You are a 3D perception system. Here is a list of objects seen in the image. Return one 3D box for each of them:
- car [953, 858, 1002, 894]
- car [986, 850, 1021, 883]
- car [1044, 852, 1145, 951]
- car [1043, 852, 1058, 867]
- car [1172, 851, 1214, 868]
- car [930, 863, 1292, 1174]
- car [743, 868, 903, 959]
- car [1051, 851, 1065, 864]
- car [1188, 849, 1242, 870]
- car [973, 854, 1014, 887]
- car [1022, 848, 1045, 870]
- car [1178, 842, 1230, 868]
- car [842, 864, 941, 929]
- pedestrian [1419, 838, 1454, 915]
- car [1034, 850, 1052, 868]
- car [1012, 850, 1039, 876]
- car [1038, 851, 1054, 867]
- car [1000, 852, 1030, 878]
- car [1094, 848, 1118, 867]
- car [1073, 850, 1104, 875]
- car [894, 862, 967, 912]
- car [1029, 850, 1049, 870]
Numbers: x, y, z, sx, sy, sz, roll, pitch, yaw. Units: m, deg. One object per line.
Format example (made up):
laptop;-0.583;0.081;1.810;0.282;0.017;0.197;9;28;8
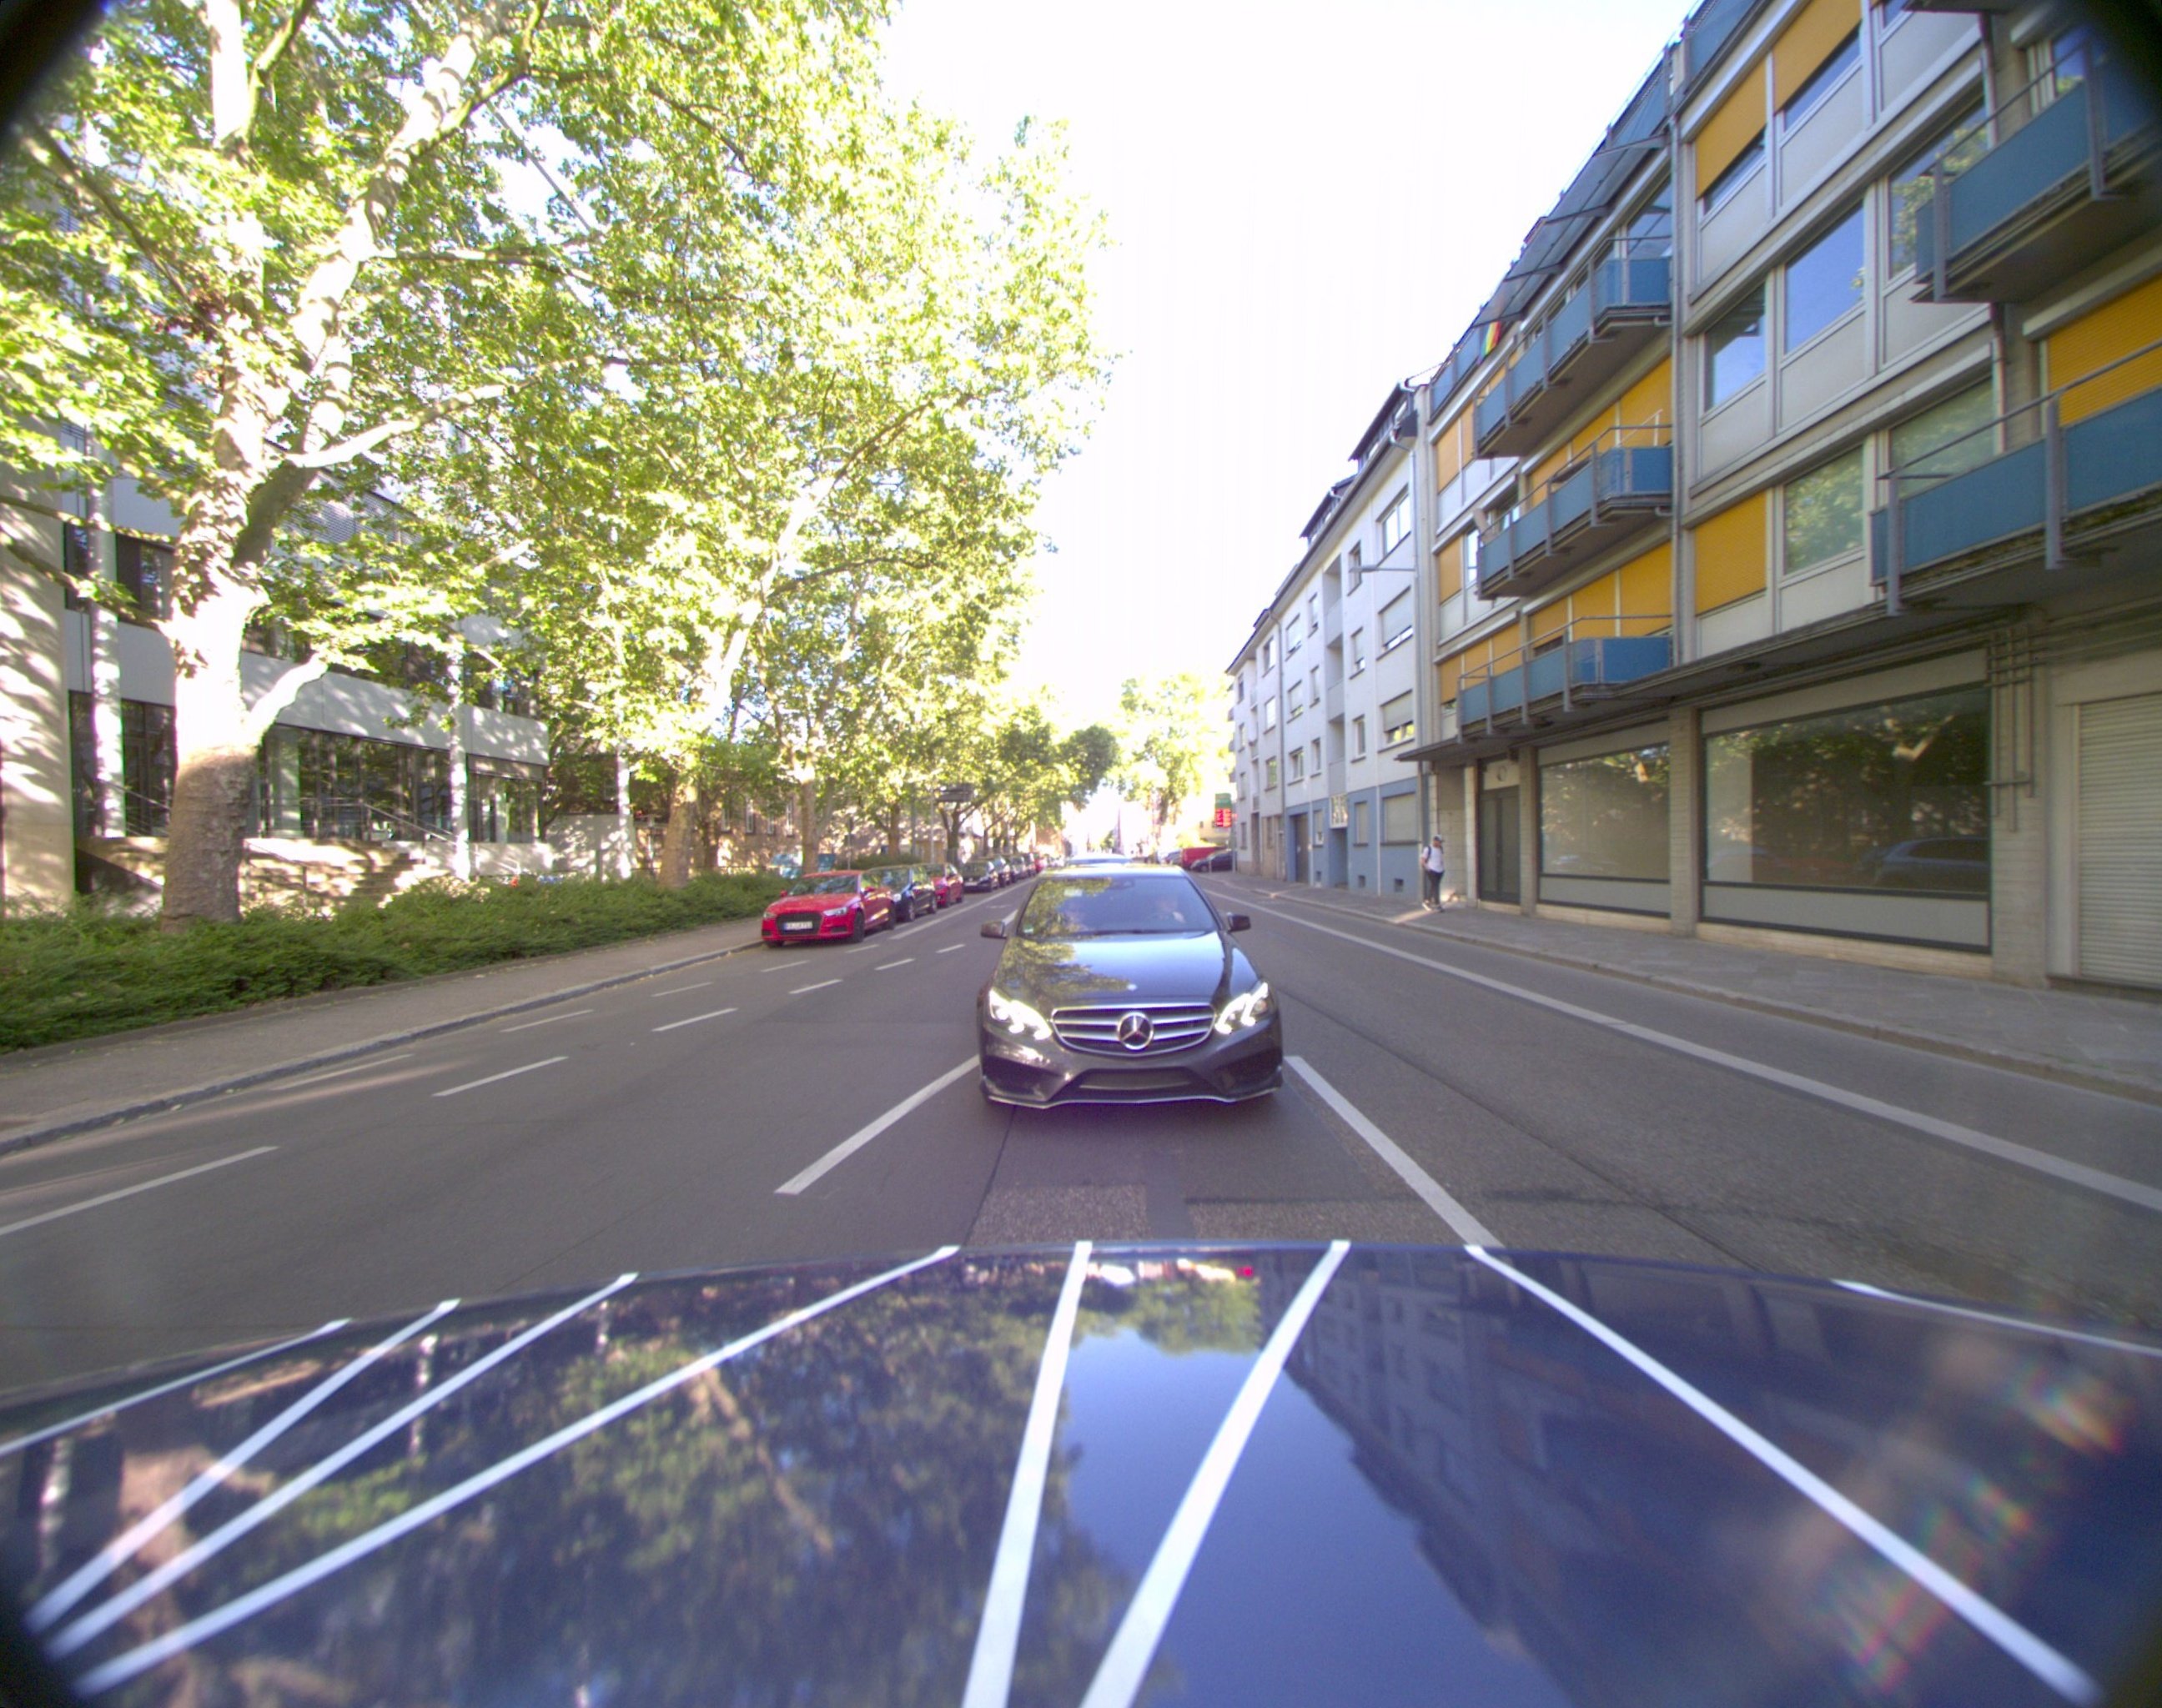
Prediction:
car;-4.746;0.977;35.307;1.635;1.455;3.740;-3;0;1
car;-4.648;0.711;46.078;1.635;1.795;3.844;-3;0;1
car;0.263;0.826;15.321;1.680;1.622;4.125;-3;0;1
car;-3.761;0.637;94.171;1.635;1.713;3.672;-3;0;1
car;9.521;0.458;64.746;3.325;1.241;1.295;-3;1;0
car;0.179;0.882;5.995;1.804;1.455;4.125;-3;0;1
car;-5.151;1.114;15.821;1.804;1.455;4.125;-3;0;1
car;-3.169;0.469;104.893;1.635;1.713;3.672;-3;0;1
car;9.993;0.405;56.809;3.670;1.403;1.636;-3;1;0
car;-4.586;0.839;40.258;1.635;1.578;3.844;-3;0;1
car;-4.244;0.426;68.420;1.635;1.878;3.672;-3;0;1
car;10.029;0.083;62.114;3.928;1.912;1.636;-3;1;0
car;-5.015;1.072;20.635;1.635;1.455;3.740;-3;0;1
pedestrian;8.081;0.509;17.288;0.569;1.716;0.343;-3;1;1
car;-3.987;0.517;80.396;1.635;1.713;3.672;-3;0;1
car;-4.188;0.649;57.621;1.635;1.799;3.672;-3;0;1
car;-4.061;0.575;88.176;1.635;1.713;3.672;-3;0;1
car;-4.541;0.732;52.774;1.635;1.644;3.844;-3;0;1
car;2.101;0.284;64.878;1.829;1.455;4.098;-3;0;1
car;0.481;0.536;48.818;1.853;1.455;4.098;-3;0;1
car;-5.003;1.055;25.730;1.635;1.455;3.740;-3;0;1
car;-4.014;0.556;73.212;1.635;1.713;3.672;-3;0;1
